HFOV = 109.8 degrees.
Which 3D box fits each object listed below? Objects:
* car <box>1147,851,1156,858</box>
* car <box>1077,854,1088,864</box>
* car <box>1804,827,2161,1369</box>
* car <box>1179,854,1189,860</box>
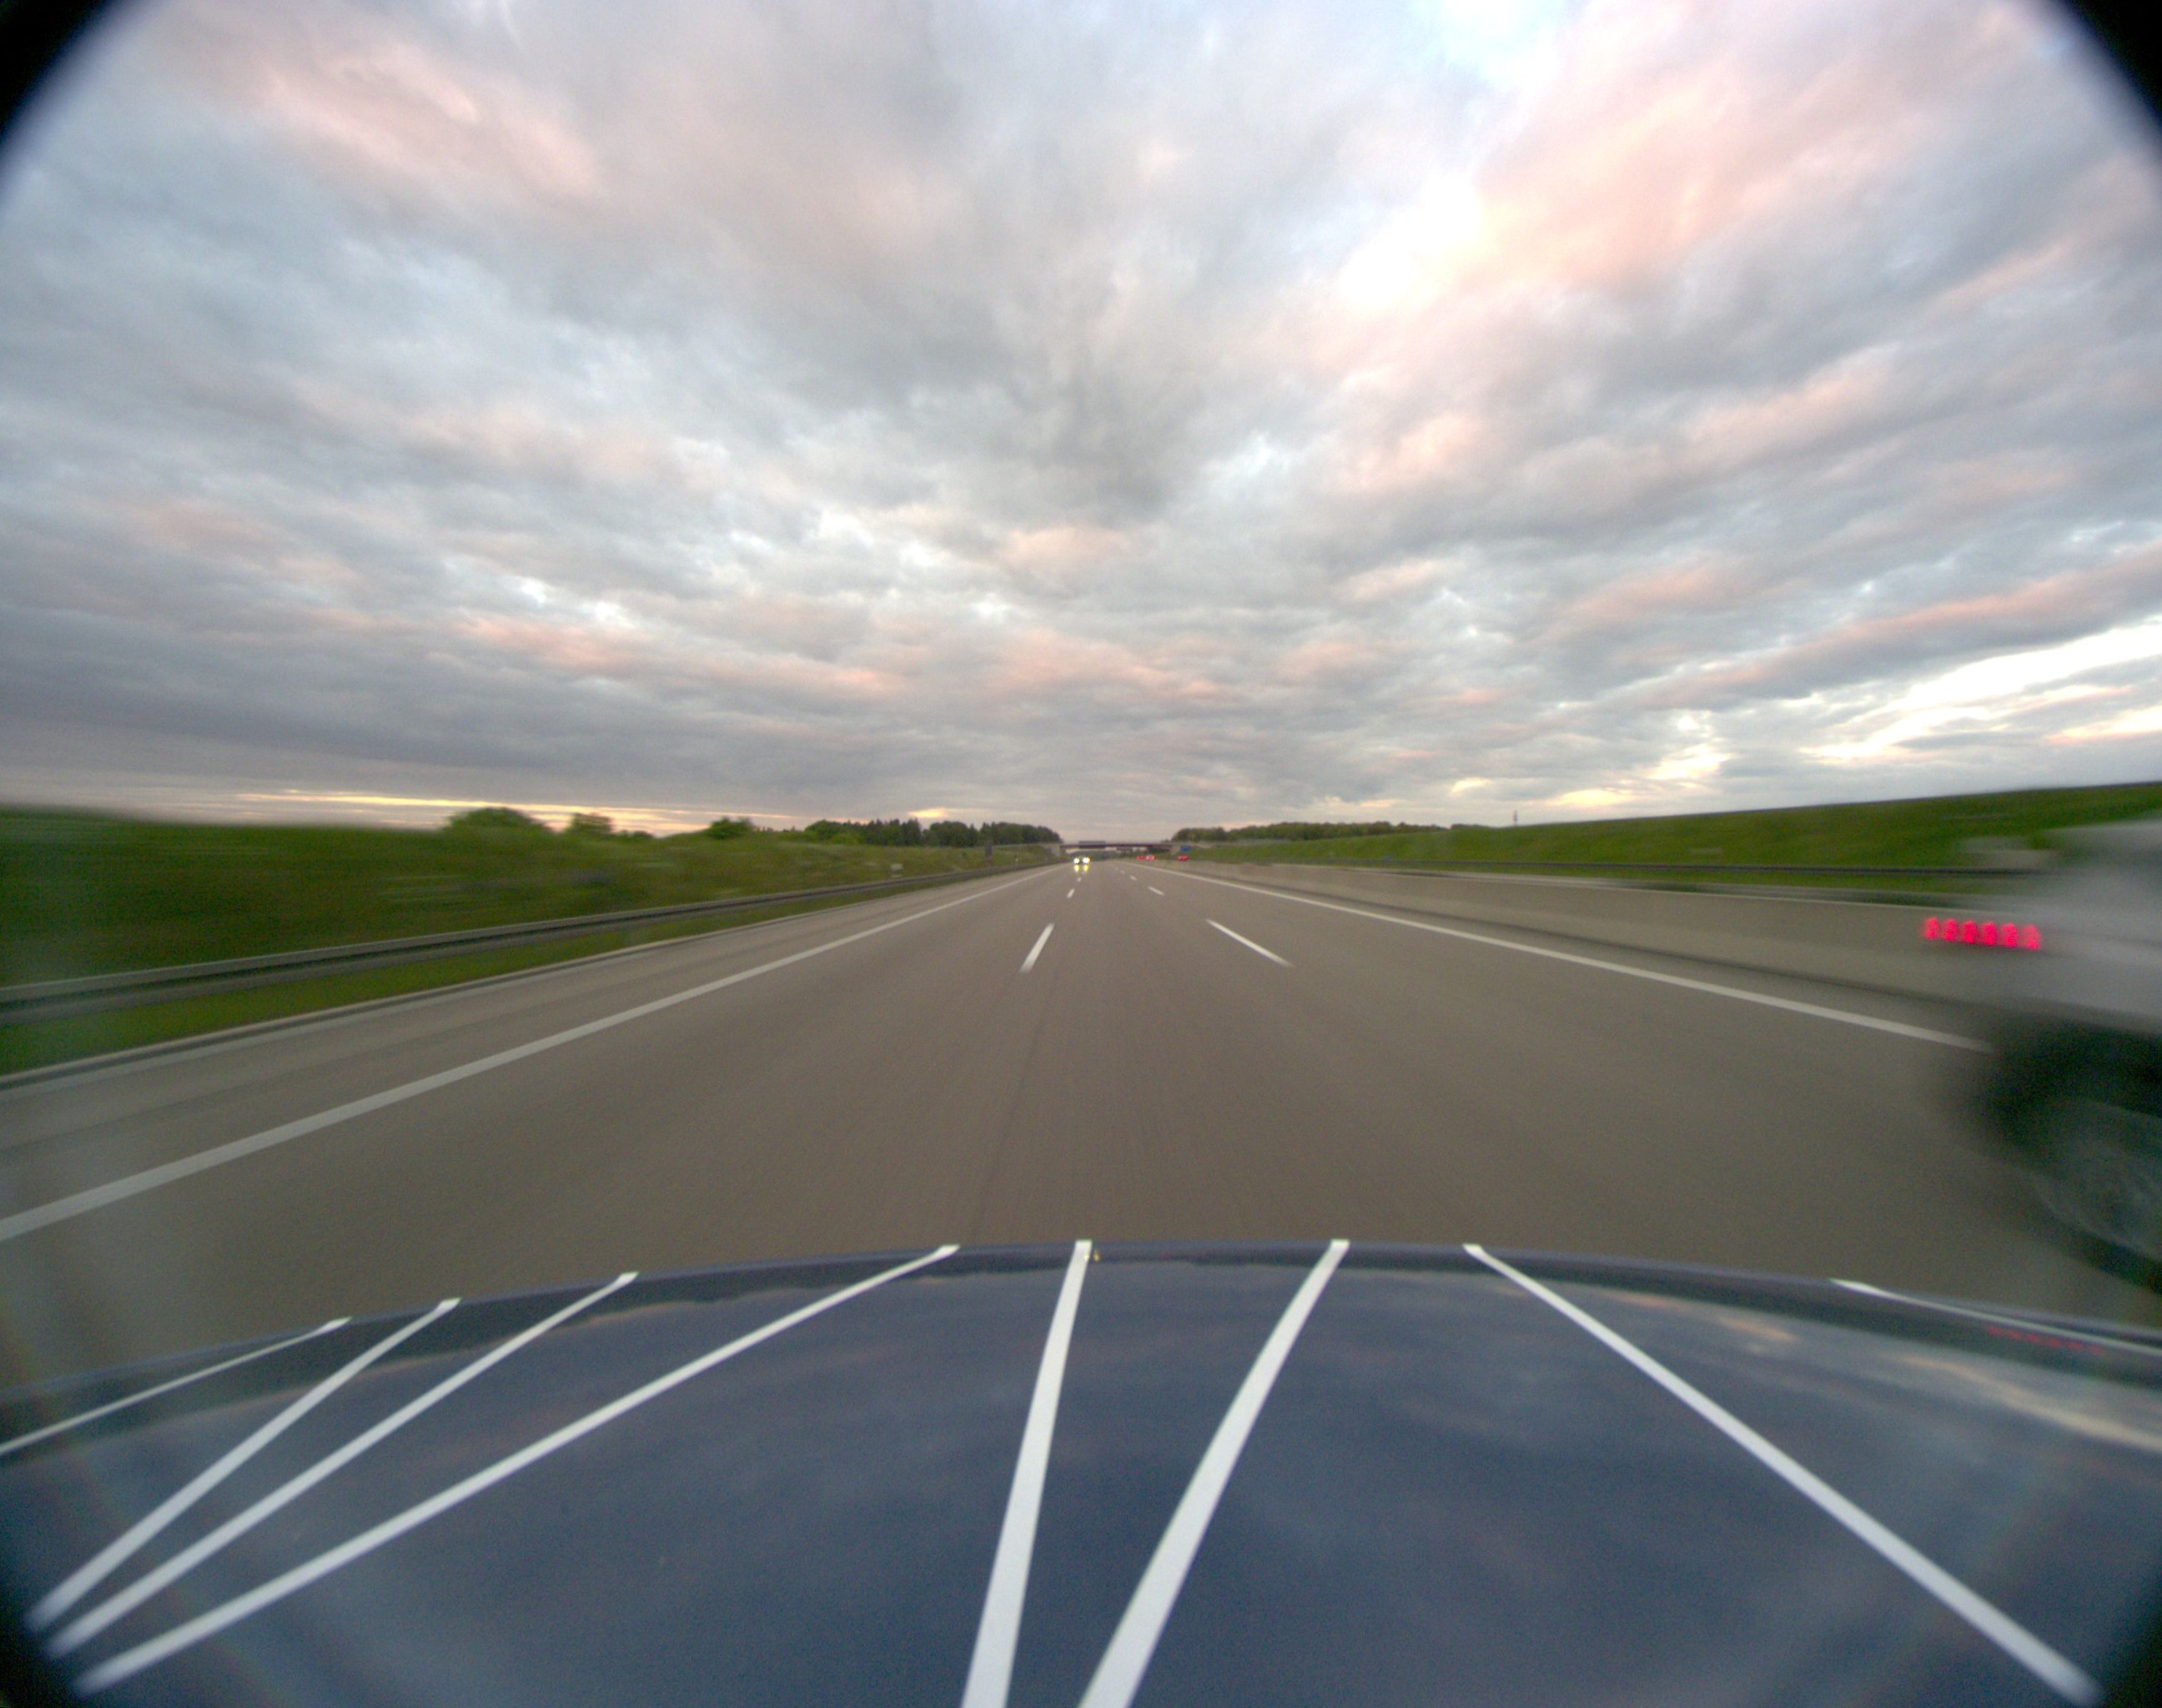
[{"bbox_3d":[18.590,0.138,201.321,1.998,1.725,5.182,-1,0,0],"label":"car"},{"bbox_3d":[0.216,0.866,130.924,1.801,1.674,4.385,-1,1,1],"label":"car"},{"bbox_3d":[4.241,0.747,0.763,1.857,1.683,5.512,-1,0,1],"label":"car"},{"bbox_3d":[22.792,0.628,167.869,1.743,1.384,4.342,-1,0,1],"label":"car"}]
